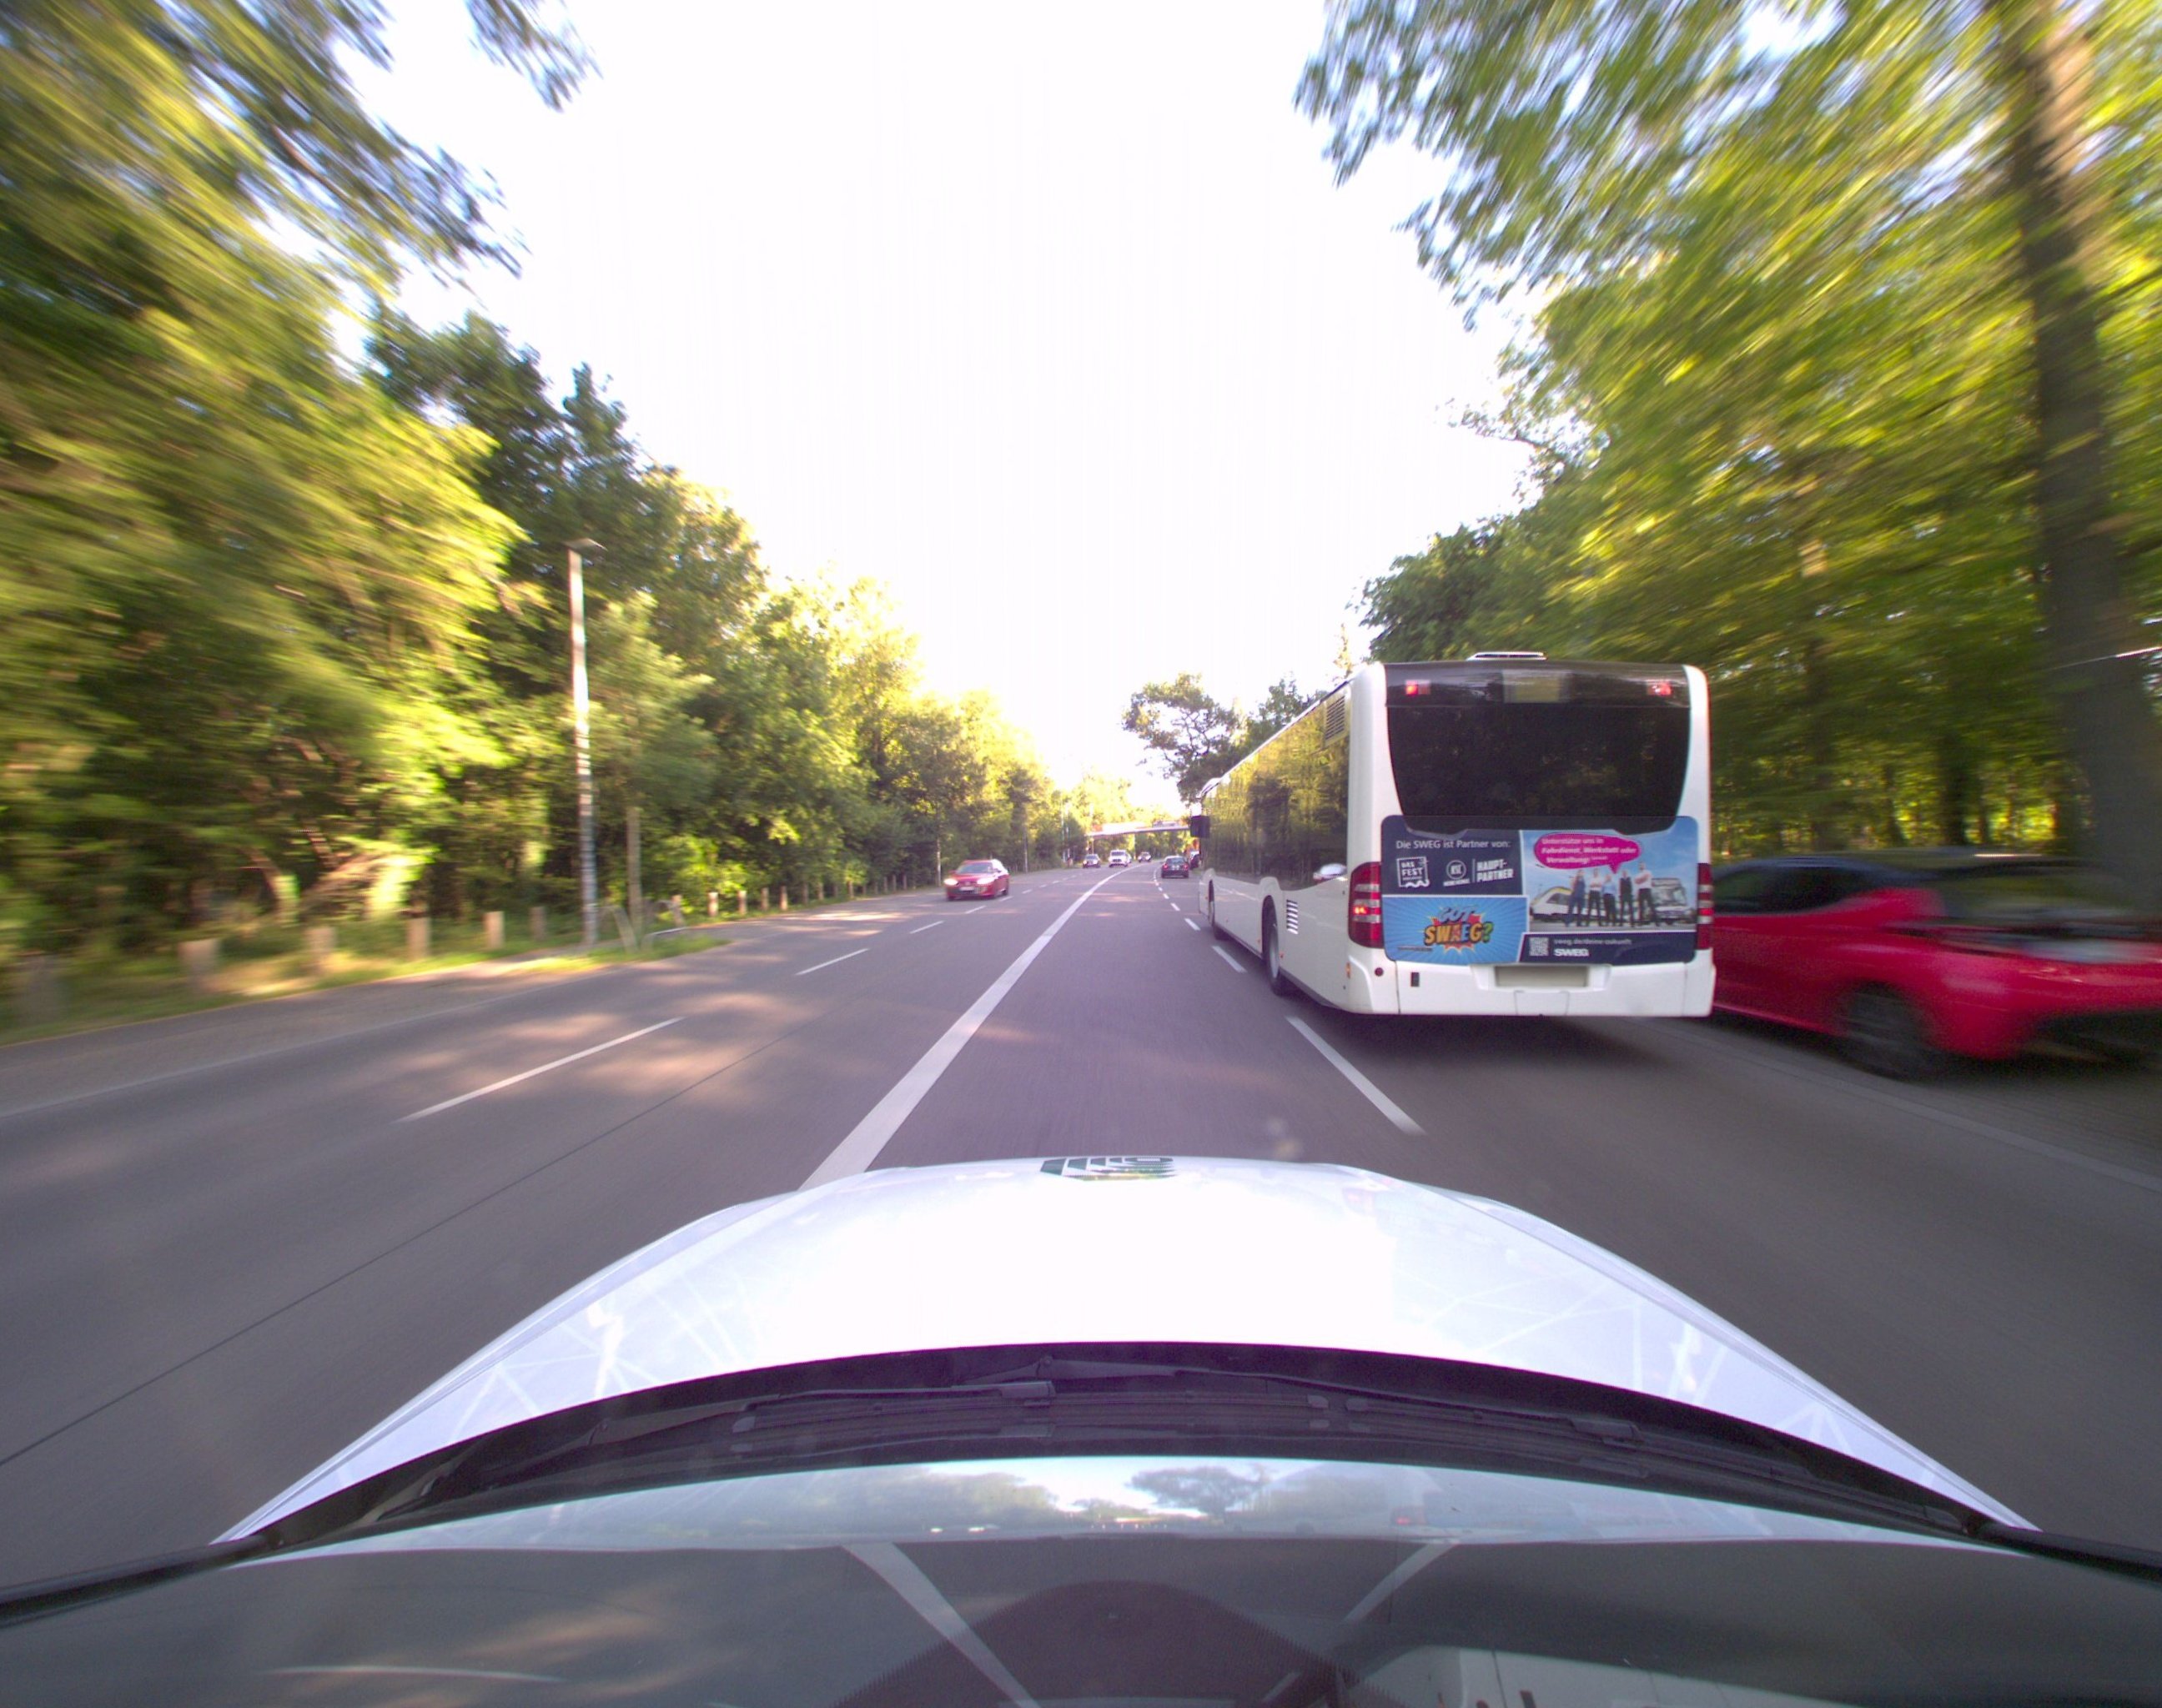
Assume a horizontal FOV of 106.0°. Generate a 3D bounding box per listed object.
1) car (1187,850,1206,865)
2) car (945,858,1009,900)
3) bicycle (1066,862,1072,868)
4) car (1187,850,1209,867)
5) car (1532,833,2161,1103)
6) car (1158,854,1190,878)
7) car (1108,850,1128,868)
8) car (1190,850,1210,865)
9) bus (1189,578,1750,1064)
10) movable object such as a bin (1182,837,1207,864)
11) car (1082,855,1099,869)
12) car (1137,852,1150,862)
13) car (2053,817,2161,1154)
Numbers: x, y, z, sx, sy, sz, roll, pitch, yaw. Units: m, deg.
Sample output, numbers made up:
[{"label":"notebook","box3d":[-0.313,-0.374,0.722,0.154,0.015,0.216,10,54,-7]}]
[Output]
[{"label":"car","box3d":[12.795,0.421,90.553,1.829,1.574,4.465,-2,0,5]},{"label":"car","box3d":[-3.971,0.930,31.872,1.817,1.462,4.924,-2,0,0]},{"label":"bicycle","box3d":[-1.530,1.387,104.324,0.492,0.814,1.811,0,0,6]},{"label":"car","box3d":[10.810,0.414,75.235,1.719,1.524,4.095,-2,0,5]},{"label":"car","box3d":[6.076,0.666,7.015,1.847,1.456,4.463,-4,0,0]},{"label":"car","box3d":[5.987,0.748,52.747,1.721,1.441,4.092,-2,0,2]},{"label":"car","box3d":[4.343,0.547,95.081,2.197,1.961,4.917,-2,0,3]},{"label":"car","box3d":[12.459,0.372,85.427,1.719,1.542,4.095,-2,0,5]},{"label":"bus","box3d":[3.418,-0.194,11.637,2.693,3.222,12.288,-1,0,3]},{"label":"movable object such as a bin","box3d":[15.254,-0.483,109.647,2.746,3.370,7.608,-2,0,4]},{"label":"car","box3d":[1.131,0.887,94.587,1.792,1.599,4.004,-1,0,4]},{"label":"car","box3d":[10.455,0.503,136.421,1.908,1.704,4.451,-2,0,7]},{"label":"car","box3d":[5.941,0.566,1.844,1.846,1.585,4.725,-4,0,2]}]
